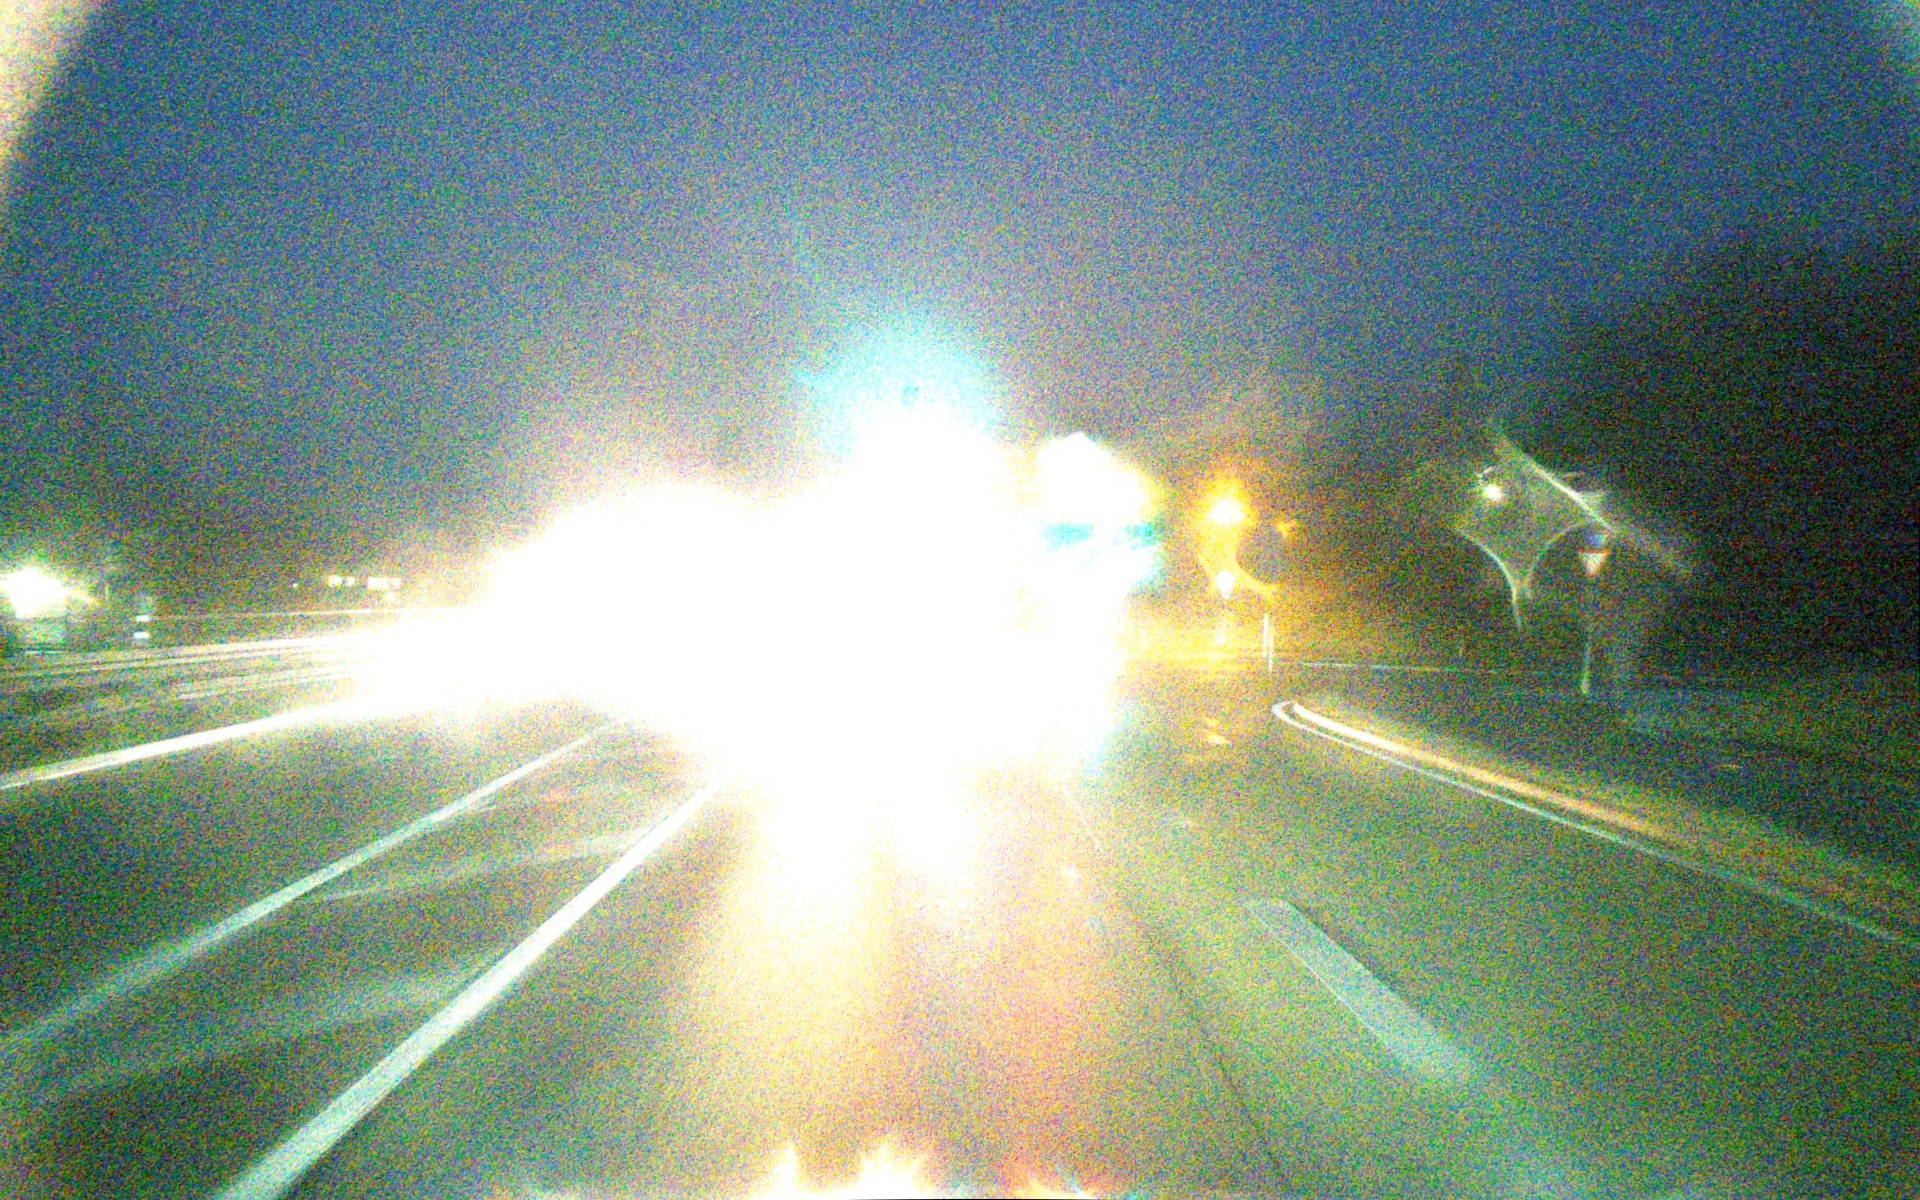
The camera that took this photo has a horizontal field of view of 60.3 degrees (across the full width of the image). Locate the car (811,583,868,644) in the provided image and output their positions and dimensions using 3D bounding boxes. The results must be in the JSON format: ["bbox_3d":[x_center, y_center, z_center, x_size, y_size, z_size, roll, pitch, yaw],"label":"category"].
[{"bbox_3d":[-4.401,0.527,59.838,1.955,2.049,3.995,0,-2,-6],"label":"car"}]

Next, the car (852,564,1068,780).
[{"bbox_3d":[-0.075,0.594,15.461,1.740,1.742,3.998,1,0,-2],"label":"car"}]
